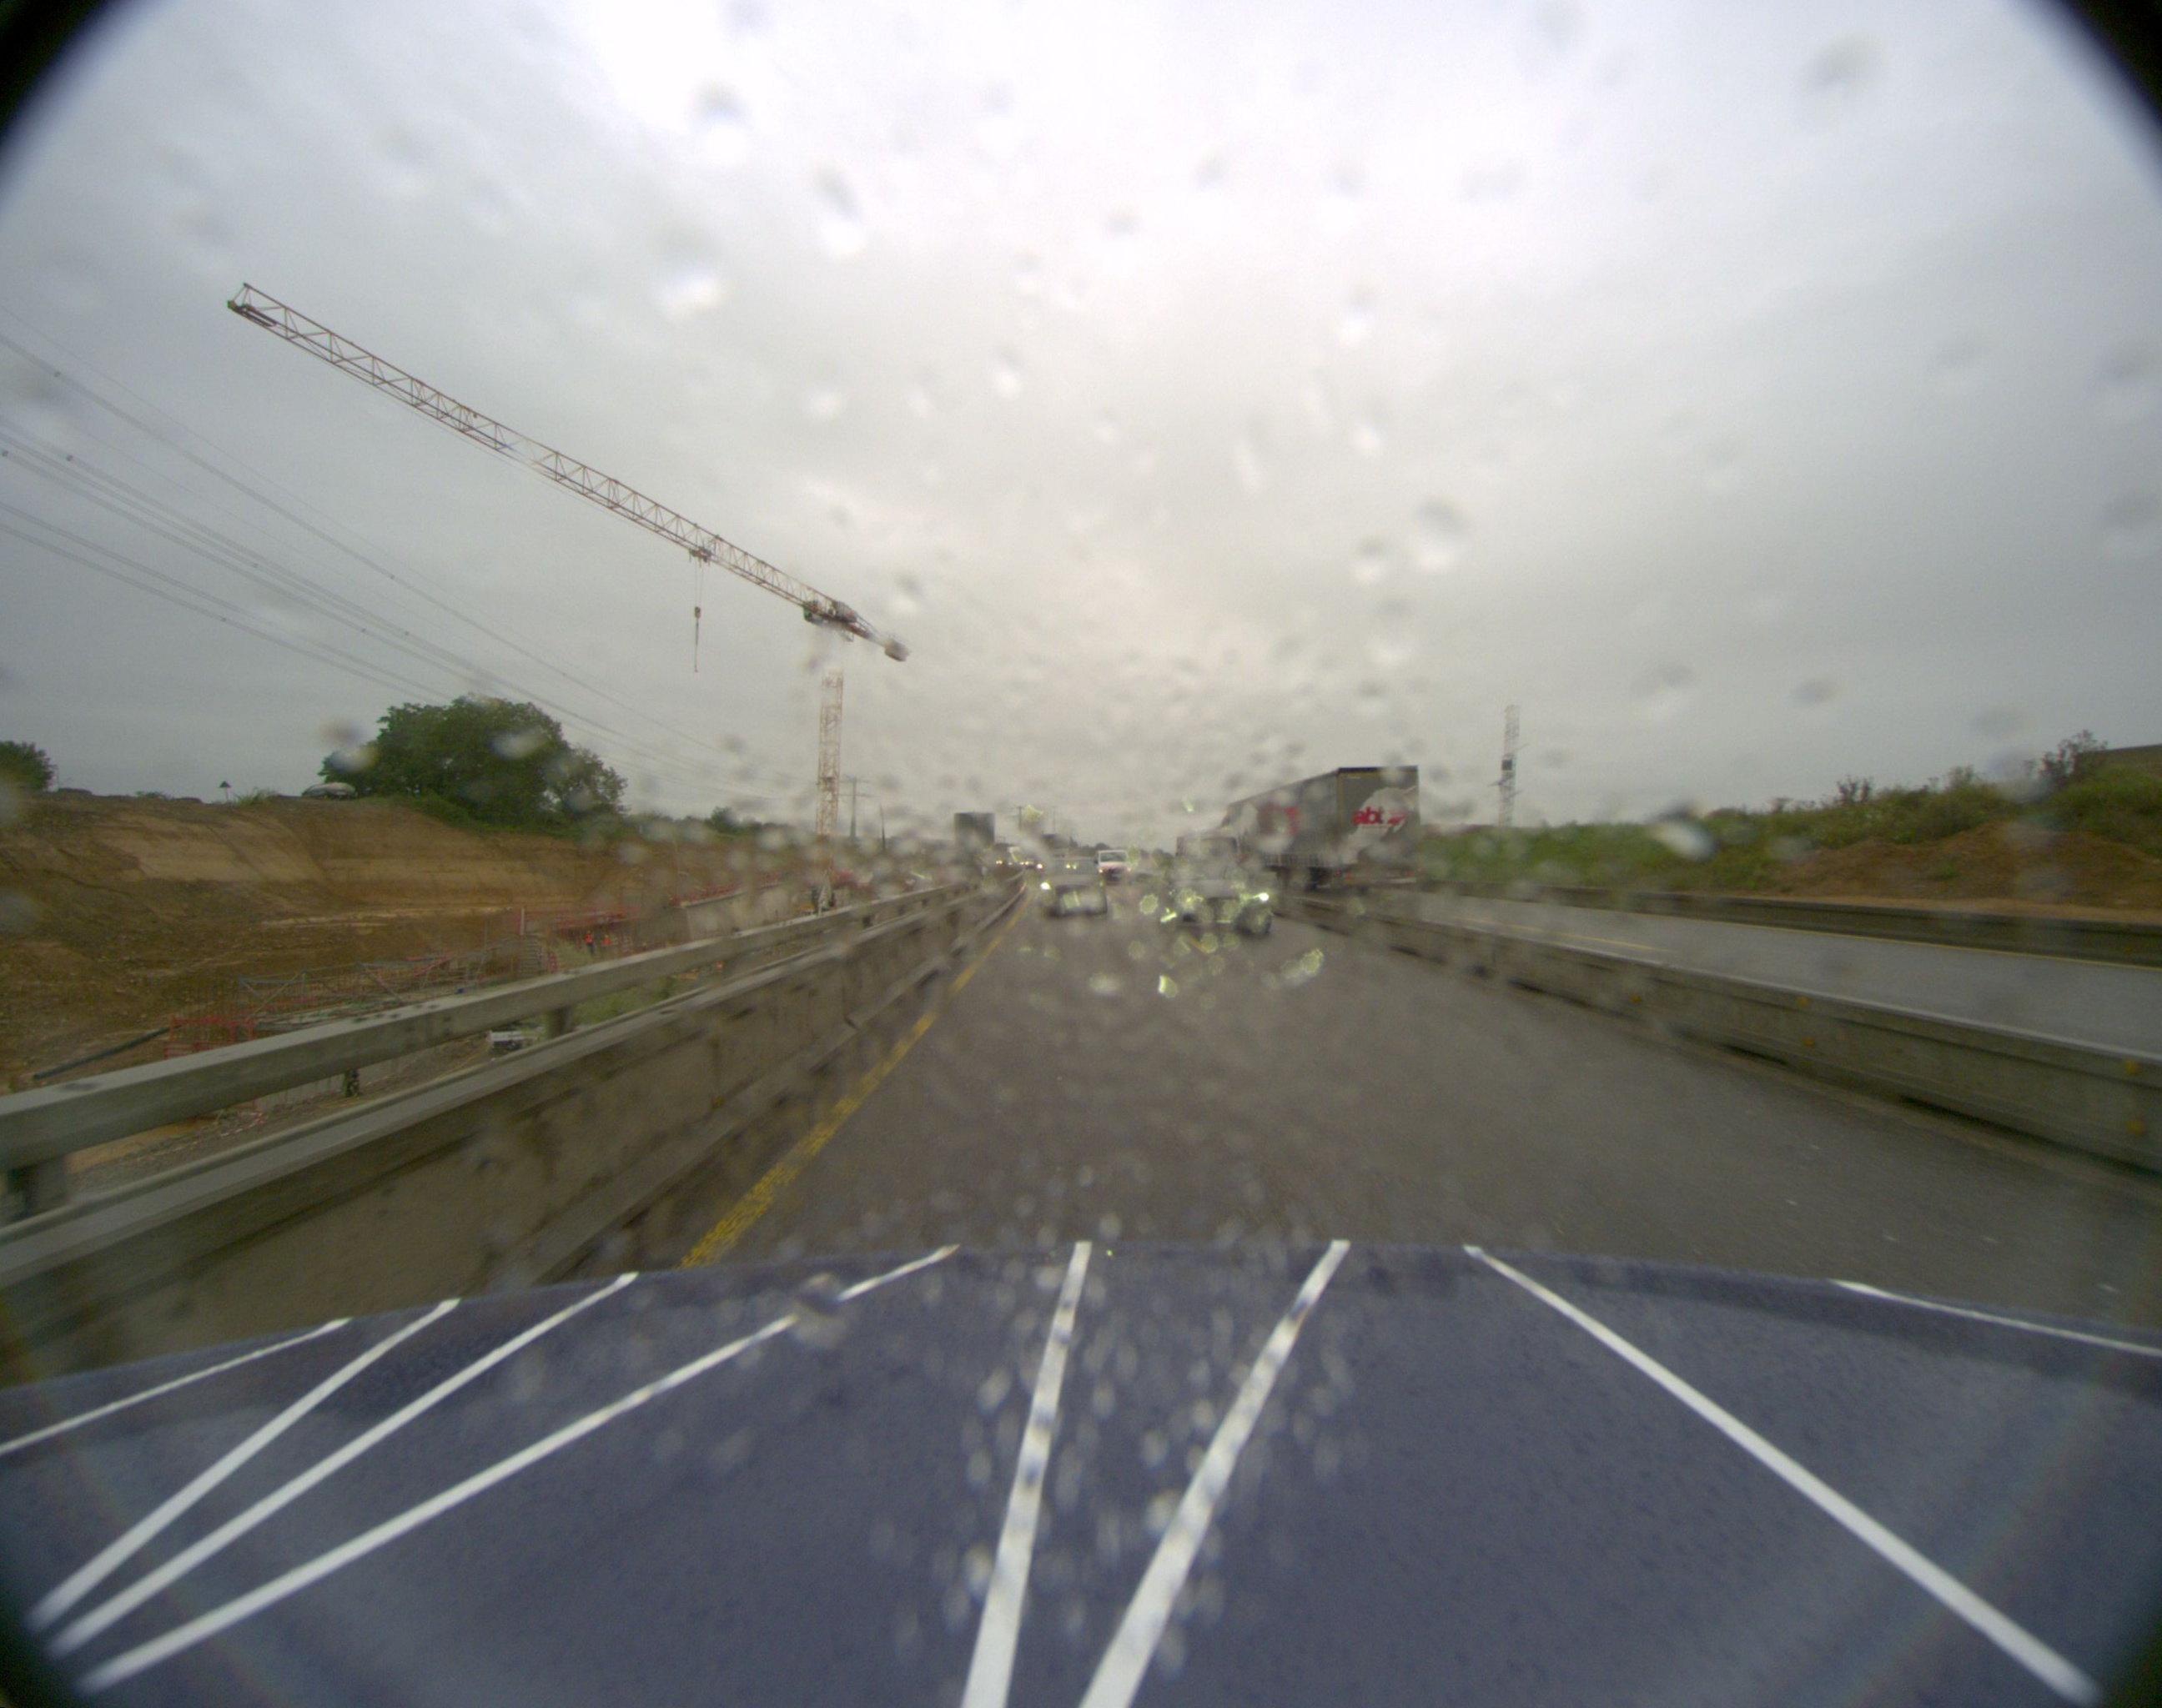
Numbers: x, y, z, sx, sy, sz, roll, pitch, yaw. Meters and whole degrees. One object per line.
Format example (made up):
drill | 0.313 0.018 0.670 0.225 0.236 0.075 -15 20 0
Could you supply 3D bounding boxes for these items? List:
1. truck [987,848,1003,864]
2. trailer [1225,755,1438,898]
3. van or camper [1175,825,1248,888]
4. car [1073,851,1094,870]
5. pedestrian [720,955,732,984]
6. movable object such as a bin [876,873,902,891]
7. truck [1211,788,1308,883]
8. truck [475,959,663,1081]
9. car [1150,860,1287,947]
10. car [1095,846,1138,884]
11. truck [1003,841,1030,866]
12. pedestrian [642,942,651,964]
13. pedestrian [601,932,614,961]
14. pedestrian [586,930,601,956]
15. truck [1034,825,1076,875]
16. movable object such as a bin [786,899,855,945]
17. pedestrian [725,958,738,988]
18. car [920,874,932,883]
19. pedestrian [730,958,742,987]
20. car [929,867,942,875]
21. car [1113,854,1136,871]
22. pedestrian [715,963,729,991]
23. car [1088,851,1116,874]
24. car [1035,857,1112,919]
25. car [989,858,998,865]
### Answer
truck | -21.759 0.434 192.313 3.546 3.871 8.332 -2 1 -4
trailer | 9.239 -0.842 31.325 3.003 4.395 15.698 0 0 -2
van or camper | 5.884 0.090 34.976 2.284 2.599 5.827 -2 0 0
car | 0.215 0.637 75.164 1.790 1.744 3.998 -2 0 -4
pedestrian | -24.724 8.033 52.859 0.603 1.894 0.481 1 1 -4
movable object such as a bin | -33.681 4.894 133.307 3.502 2.865 3.998 5 1 -4
truck | 8.899 -0.865 38.799 2.988 4.383 6.929 0 0 -3
truck | -23.681 7.509 35.993 2.710 3.591 9.071 1 2 0
car | 2.543 0.865 15.085 1.805 1.375 4.086 -1 1 -3
car | 1.923 0.555 42.646 2.069 1.934 5.155 -1 1 -1
truck | -12.397 -0.077 144.275 4.321 4.319 13.398 -2 0 -8
pedestrian | -35.608 8.133 62.293 0.489 1.750 0.481 1 1 -4
pedestrian | -35.950 7.035 57.668 0.489 2.088 0.481 -6 2 -3
pedestrian | -35.959 6.561 56.020 0.488 1.794 0.583 -5 2 37
truck | -2.102 -0.322 58.147 2.857 3.462 8.640 -1 1 -4
movable object such as a bin | -23.837 6.200 69.935 3.515 3.405 6.653 -1 2 5
pedestrian | -23.812 8.110 51.809 0.603 1.894 0.614 1 1 -3
car | -31.074 4.822 152.559 1.860 1.609 4.078 0 1 -5
pedestrian | -23.828 8.173 52.526 0.603 1.894 0.481 1 1 -4
car | -34.584 4.005 180.884 2.351 1.609 4.857 0 1 -5
car | 4.112 0.753 72.428 1.748 1.494 4.633 -2 0 -3
pedestrian | -23.974 8.190 50.750 0.603 1.759 0.481 3 1 -4
car | 1.499 0.624 56.198 1.626 1.583 3.998 -2 0 -4
car | -0.242 0.841 20.986 1.874 1.481 4.260 -1 0 -1
car | -20.260 1.712 175.997 1.790 1.418 3.998 -2 0 -4
